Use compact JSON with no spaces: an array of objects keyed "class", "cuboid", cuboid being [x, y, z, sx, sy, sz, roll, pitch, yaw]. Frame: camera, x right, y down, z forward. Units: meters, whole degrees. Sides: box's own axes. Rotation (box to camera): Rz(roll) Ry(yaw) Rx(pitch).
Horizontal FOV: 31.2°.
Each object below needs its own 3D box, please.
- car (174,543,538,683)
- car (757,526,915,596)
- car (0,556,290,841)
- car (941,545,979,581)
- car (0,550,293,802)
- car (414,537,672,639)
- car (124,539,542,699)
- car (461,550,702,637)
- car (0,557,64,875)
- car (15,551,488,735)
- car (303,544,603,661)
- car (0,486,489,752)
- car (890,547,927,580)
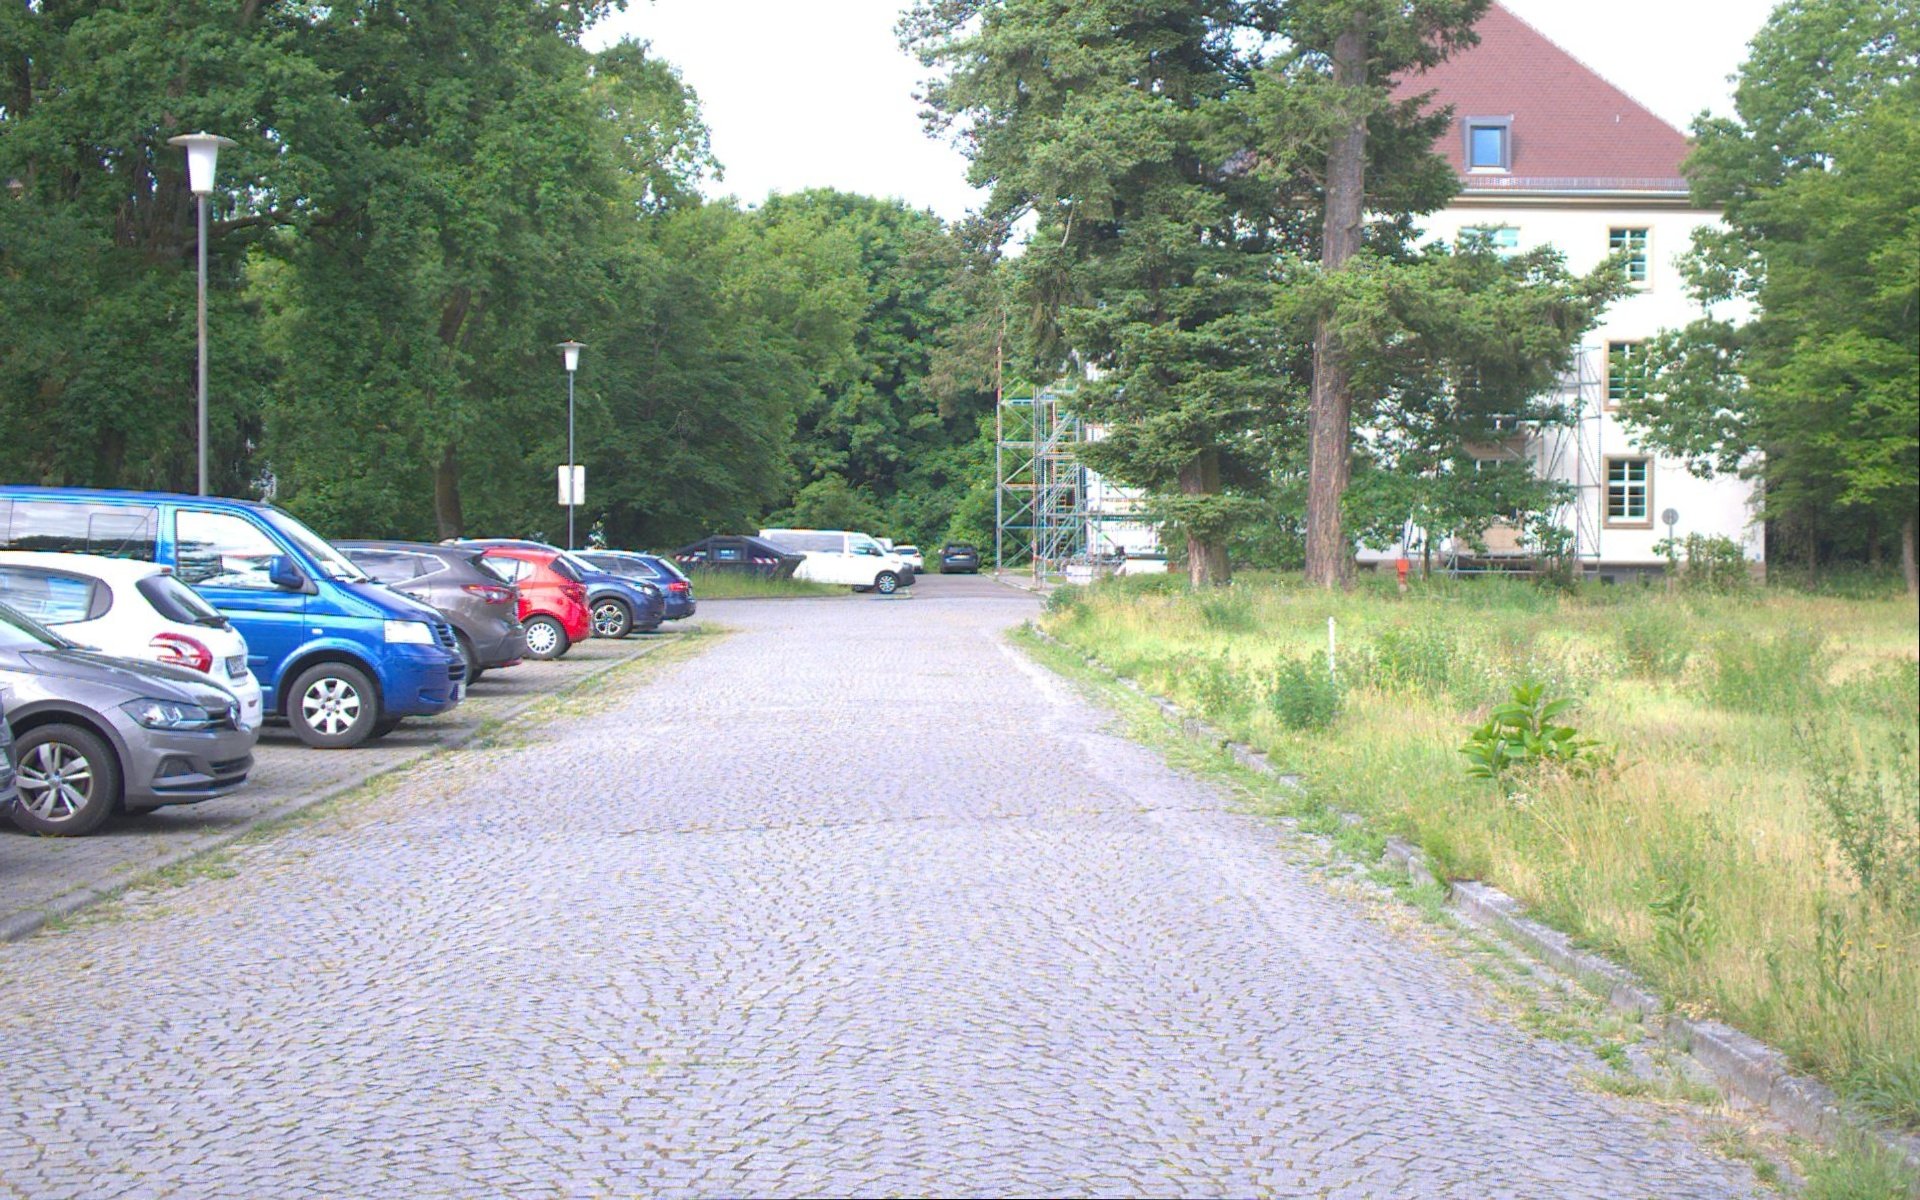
[{"class":"car","cuboid":[-6.793,0.126,38.934,3.815,1.481,1.761,1,1,-1]},{"class":"car","cuboid":[-3.993,-1.236,110.416,4.977,2.065,2.052,1,-1,-2]},{"class":"car","cuboid":[-6.060,0.490,19.119,4.304,1.475,1.731,1,1,1]},{"class":"car","cuboid":[-0.018,-1.892,176.835,1.790,1.714,4.061,0,-1,-2]},{"class":"car","cuboid":[-6.460,0.435,21.979,4.005,1.496,1.843,1,1,1]},{"class":"car","cuboid":[-6.846,-0.209,56.711,4.071,1.598,1.788,1,1,-2]},{"class":"car","cuboid":[-6.530,0.184,36.150,4.067,1.570,1.955,1,1,-2]},{"class":"car","cuboid":[-6.737,-0.129,61.412,4.071,1.462,1.626,1,1,3]},{"class":"car","cuboid":[-6.514,0.511,16.229,4.088,1.475,1.755,1,1,0]},{"class":"car","cuboid":[-6.093,0.351,29.872,3.793,1.488,1.726,1,1,-3]},{"class":"car","cuboid":[-6.811,0.014,46.462,3.815,1.484,1.788,1,1,-2]},{"class":"car","cuboid":[-6.228,0.117,27.279,4.709,1.974,2.038,1,1,-1]},{"class":"car","cuboid":[-2.636,-1.864,176.482,1.790,1.630,4.061,0,-1,-2]}]
